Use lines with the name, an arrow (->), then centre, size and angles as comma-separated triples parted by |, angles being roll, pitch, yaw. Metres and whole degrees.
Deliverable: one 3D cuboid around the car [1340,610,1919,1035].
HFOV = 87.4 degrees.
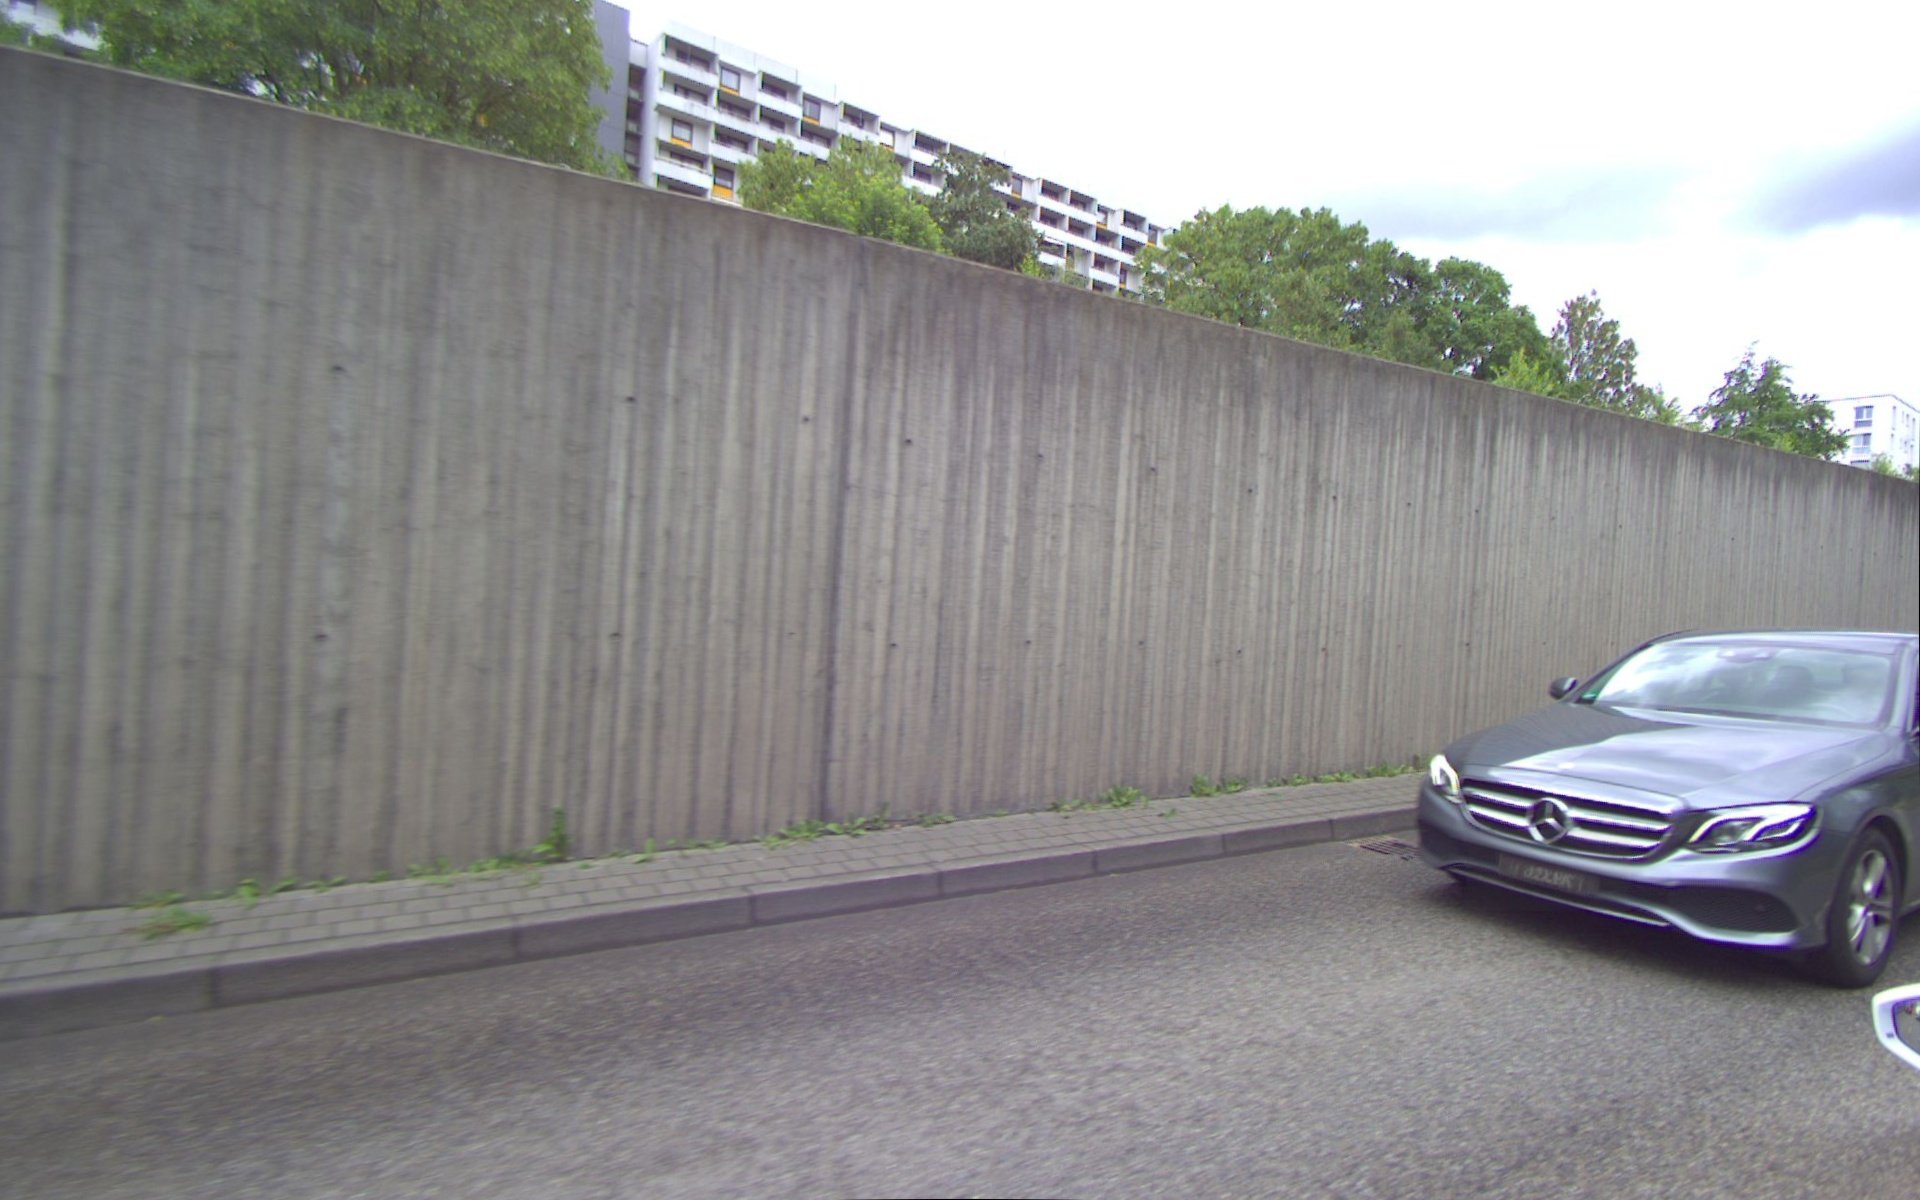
car -> 4.509, 0.856, 5.633 | 4.766, 1.503, 1.883 | 1, 0, -30
